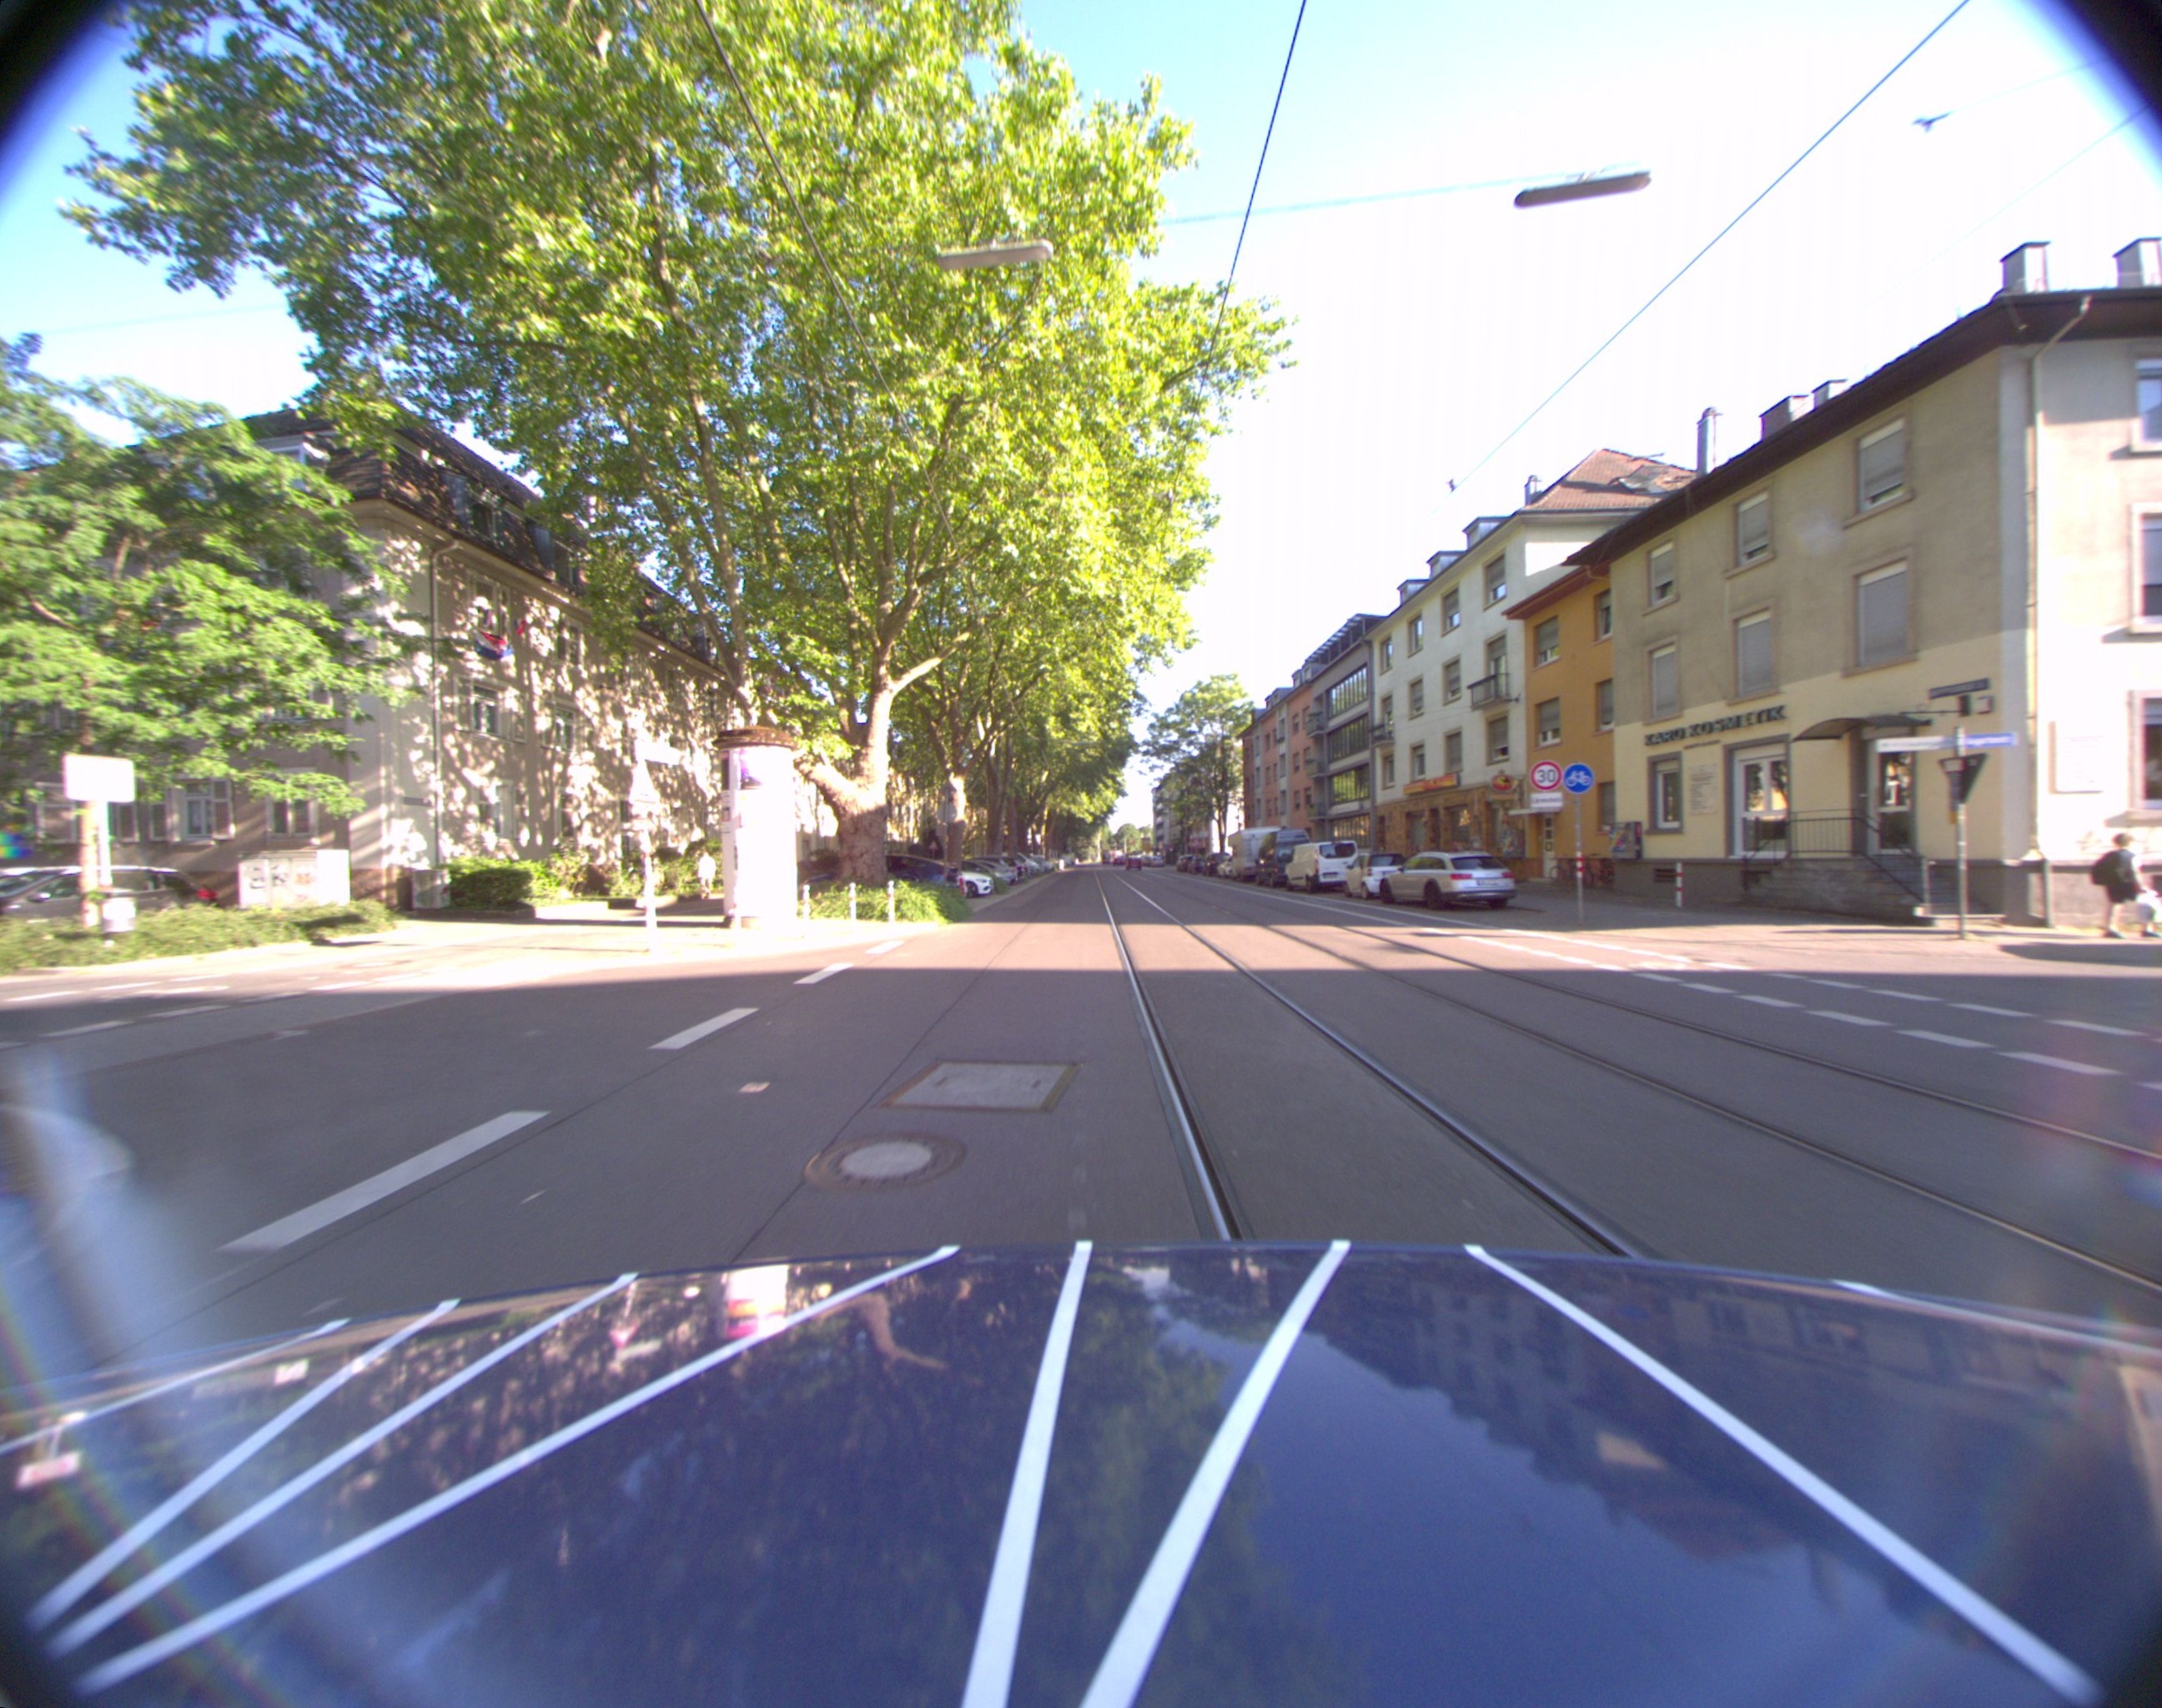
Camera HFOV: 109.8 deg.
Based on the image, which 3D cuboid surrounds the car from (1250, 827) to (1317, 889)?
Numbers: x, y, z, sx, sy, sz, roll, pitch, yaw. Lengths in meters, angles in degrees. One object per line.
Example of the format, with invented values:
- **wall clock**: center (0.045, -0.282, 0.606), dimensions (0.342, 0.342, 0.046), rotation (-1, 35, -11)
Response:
- **car**: center (9.860, 0.183, 37.401), dimensions (1.927, 2.730, 4.546), rotation (-5, 0, 1)

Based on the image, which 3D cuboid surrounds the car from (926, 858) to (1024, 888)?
- **car**: center (-5.313, 0.942, 38.428), dimensions (4.611, 1.485, 1.893), rotation (0, -1, 3)

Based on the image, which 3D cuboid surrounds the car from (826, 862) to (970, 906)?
- **car**: center (-5.984, 0.970, 25.259), dimensions (4.368, 1.436, 1.893), rotation (0, -1, -2)

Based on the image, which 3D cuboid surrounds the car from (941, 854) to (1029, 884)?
- **car**: center (-5.369, 0.846, 42.772), dimensions (4.611, 1.631, 1.893), rotation (0, 0, 3)

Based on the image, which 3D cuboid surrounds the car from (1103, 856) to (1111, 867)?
- **car**: center (6.690, 1.952, 195.943), dimensions (1.998, 2.756, 4.742), rotation (-1, 0, 1)

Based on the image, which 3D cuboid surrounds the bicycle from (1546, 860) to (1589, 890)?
- **bicycle**: center (15.680, 0.665, 24.510), dimensions (0.362, 0.923, 1.647), rotation (-1, 0, 1)

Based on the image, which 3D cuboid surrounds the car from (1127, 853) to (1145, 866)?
- **car**: center (6.063, 0.585, 84.242), dimensions (1.769, 1.448, 3.586), rotation (-1, 0, 1)

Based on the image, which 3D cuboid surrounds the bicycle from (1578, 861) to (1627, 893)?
- **bicycle**: center (15.637, 0.675, 22.820), dimensions (0.362, 0.923, 1.647), rotation (-1, 0, 1)

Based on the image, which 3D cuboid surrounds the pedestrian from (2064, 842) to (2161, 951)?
- **pedestrian**: center (15.839, 0.622, 11.524), dimensions (0.774, 1.578, 0.753), rotation (-1, 4, 5)

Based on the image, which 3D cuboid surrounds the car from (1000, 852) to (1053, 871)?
- **car**: center (-5.015, 0.685, 70.049), dimensions (4.611, 1.781, 1.893), rotation (0, 0, 3)

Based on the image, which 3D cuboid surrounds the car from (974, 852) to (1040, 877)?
- **car**: center (-5.413, 0.771, 55.969), dimensions (4.611, 1.781, 1.893), rotation (0, 0, 3)

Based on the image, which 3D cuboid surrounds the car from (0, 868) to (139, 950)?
- **car**: center (-21.980, 1.103, 14.920), dimensions (1.727, 1.573, 4.003), rotation (0, 0, 10)

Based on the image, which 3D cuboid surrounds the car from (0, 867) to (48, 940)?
- **car**: center (-24.388, 1.086, 15.220), dimensions (1.727, 1.573, 4.003), rotation (0, 0, 10)

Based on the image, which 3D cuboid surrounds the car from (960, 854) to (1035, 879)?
- **car**: center (-5.405, 0.809, 49.430), dimensions (4.611, 1.631, 1.893), rotation (0, 0, 3)

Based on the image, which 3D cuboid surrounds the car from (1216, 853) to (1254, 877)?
- **car**: center (10.176, 0.683, 50.521), dimensions (1.791, 1.506, 3.473), rotation (-2, 0, 0)

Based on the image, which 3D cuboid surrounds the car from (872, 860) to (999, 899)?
- **car**: center (-5.673, 0.997, 30.053), dimensions (4.611, 1.485, 1.893), rotation (0, -1, 3)

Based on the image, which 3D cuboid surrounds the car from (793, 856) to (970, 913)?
- **car**: center (-5.905, 0.888, 22.874), dimensions (4.810, 1.621, 1.893), rotation (0, 0, 1)

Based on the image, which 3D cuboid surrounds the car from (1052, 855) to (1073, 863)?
- **car**: center (-3.201, 0.851, 133.880), dimensions (3.582, 1.448, 1.771), rotation (0, 0, 3)

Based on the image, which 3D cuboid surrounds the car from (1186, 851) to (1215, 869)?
- **car**: center (10.383, 0.540, 66.125), dimensions (1.791, 1.462, 4.435), rotation (-2, 0, 0)

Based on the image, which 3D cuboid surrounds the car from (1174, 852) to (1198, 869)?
- **car**: center (10.570, 0.639, 76.663), dimensions (1.791, 1.585, 4.097), rotation (-2, 0, 0)

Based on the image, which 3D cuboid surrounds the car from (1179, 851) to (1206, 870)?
- **car**: center (10.319, 0.607, 70.745), dimensions (1.791, 1.660, 4.435), rotation (-2, 0, 0)

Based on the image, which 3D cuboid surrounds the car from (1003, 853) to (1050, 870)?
- **car**: center (-5.562, 0.735, 77.711), dimensions (4.611, 1.705, 1.893), rotation (0, 0, 3)

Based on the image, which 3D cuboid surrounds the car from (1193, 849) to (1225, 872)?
- **car**: center (10.278, 0.531, 61.363), dimensions (1.791, 1.743, 4.435), rotation (-2, 0, 0)

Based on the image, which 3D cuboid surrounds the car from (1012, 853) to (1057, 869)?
- **car**: center (-5.015, 0.809, 82.341), dimensions (4.611, 1.705, 1.893), rotation (0, 0, 3)

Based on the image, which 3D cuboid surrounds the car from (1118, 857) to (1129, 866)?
- **car**: center (7.354, 1.334, 132.608), dimensions (1.769, 1.448, 3.586), rotation (-1, 0, 1)

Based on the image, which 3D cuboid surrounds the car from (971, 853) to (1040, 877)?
- **car**: center (-5.273, 0.783, 53.461), dimensions (4.611, 1.631, 1.893), rotation (0, 0, 3)

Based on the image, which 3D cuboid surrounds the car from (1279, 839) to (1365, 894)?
- **car**: center (9.850, 0.482, 31.451), dimensions (1.928, 2.034, 4.941), rotation (-2, 0, 0)

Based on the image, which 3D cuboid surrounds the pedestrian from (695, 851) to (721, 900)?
- **pedestrian**: center (-13.549, 0.778, 27.597), dimensions (0.618, 1.757, 0.642), rotation (0, 1, 45)

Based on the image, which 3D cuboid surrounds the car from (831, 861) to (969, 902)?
- **car**: center (-6.500, 0.968, 27.630), dimensions (4.508, 1.436, 1.893), rotation (0, -1, 3)

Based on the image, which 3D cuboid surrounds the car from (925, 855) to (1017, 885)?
- **car**: center (-5.873, 0.837, 40.809), dimensions (4.611, 1.556, 1.893), rotation (0, 0, 3)

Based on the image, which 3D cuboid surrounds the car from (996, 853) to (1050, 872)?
- **car**: center (-5.128, 0.783, 67.711), dimensions (4.611, 1.631, 1.893), rotation (0, 0, 3)

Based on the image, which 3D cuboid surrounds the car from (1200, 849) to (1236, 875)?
- **car**: center (10.070, 0.565, 56.080), dimensions (1.791, 1.743, 4.435), rotation (-2, 0, 0)

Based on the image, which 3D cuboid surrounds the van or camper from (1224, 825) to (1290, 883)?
- **van or camper**: center (10.104, -0.023, 44.147), dimensions (2.423, 2.960, 5.991), rotation (-5, 0, 2)

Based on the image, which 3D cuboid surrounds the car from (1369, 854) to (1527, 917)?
- **car**: center (9.830, 0.757, 20.858), dimensions (1.776, 1.484, 4.940), rotation (-2, 0, -2)

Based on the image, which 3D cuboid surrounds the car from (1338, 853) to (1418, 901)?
- **car**: center (9.930, 0.730, 25.568), dimensions (1.575, 1.484, 2.883), rotation (-2, 0, 1)

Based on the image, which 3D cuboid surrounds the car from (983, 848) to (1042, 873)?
- **car**: center (-5.580, 0.516, 62.194), dimensions (4.636, 2.001, 1.893), rotation (0, 0, 3)

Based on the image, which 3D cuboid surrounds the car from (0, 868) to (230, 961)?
- **car**: center (-19.487, 1.089, 14.483), dimensions (1.727, 1.573, 4.003), rotation (0, 0, 10)

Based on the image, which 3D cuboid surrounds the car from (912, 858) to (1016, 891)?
- **car**: center (-5.506, 0.959, 36.158), dimensions (4.611, 1.485, 1.893), rotation (0, -1, 3)
